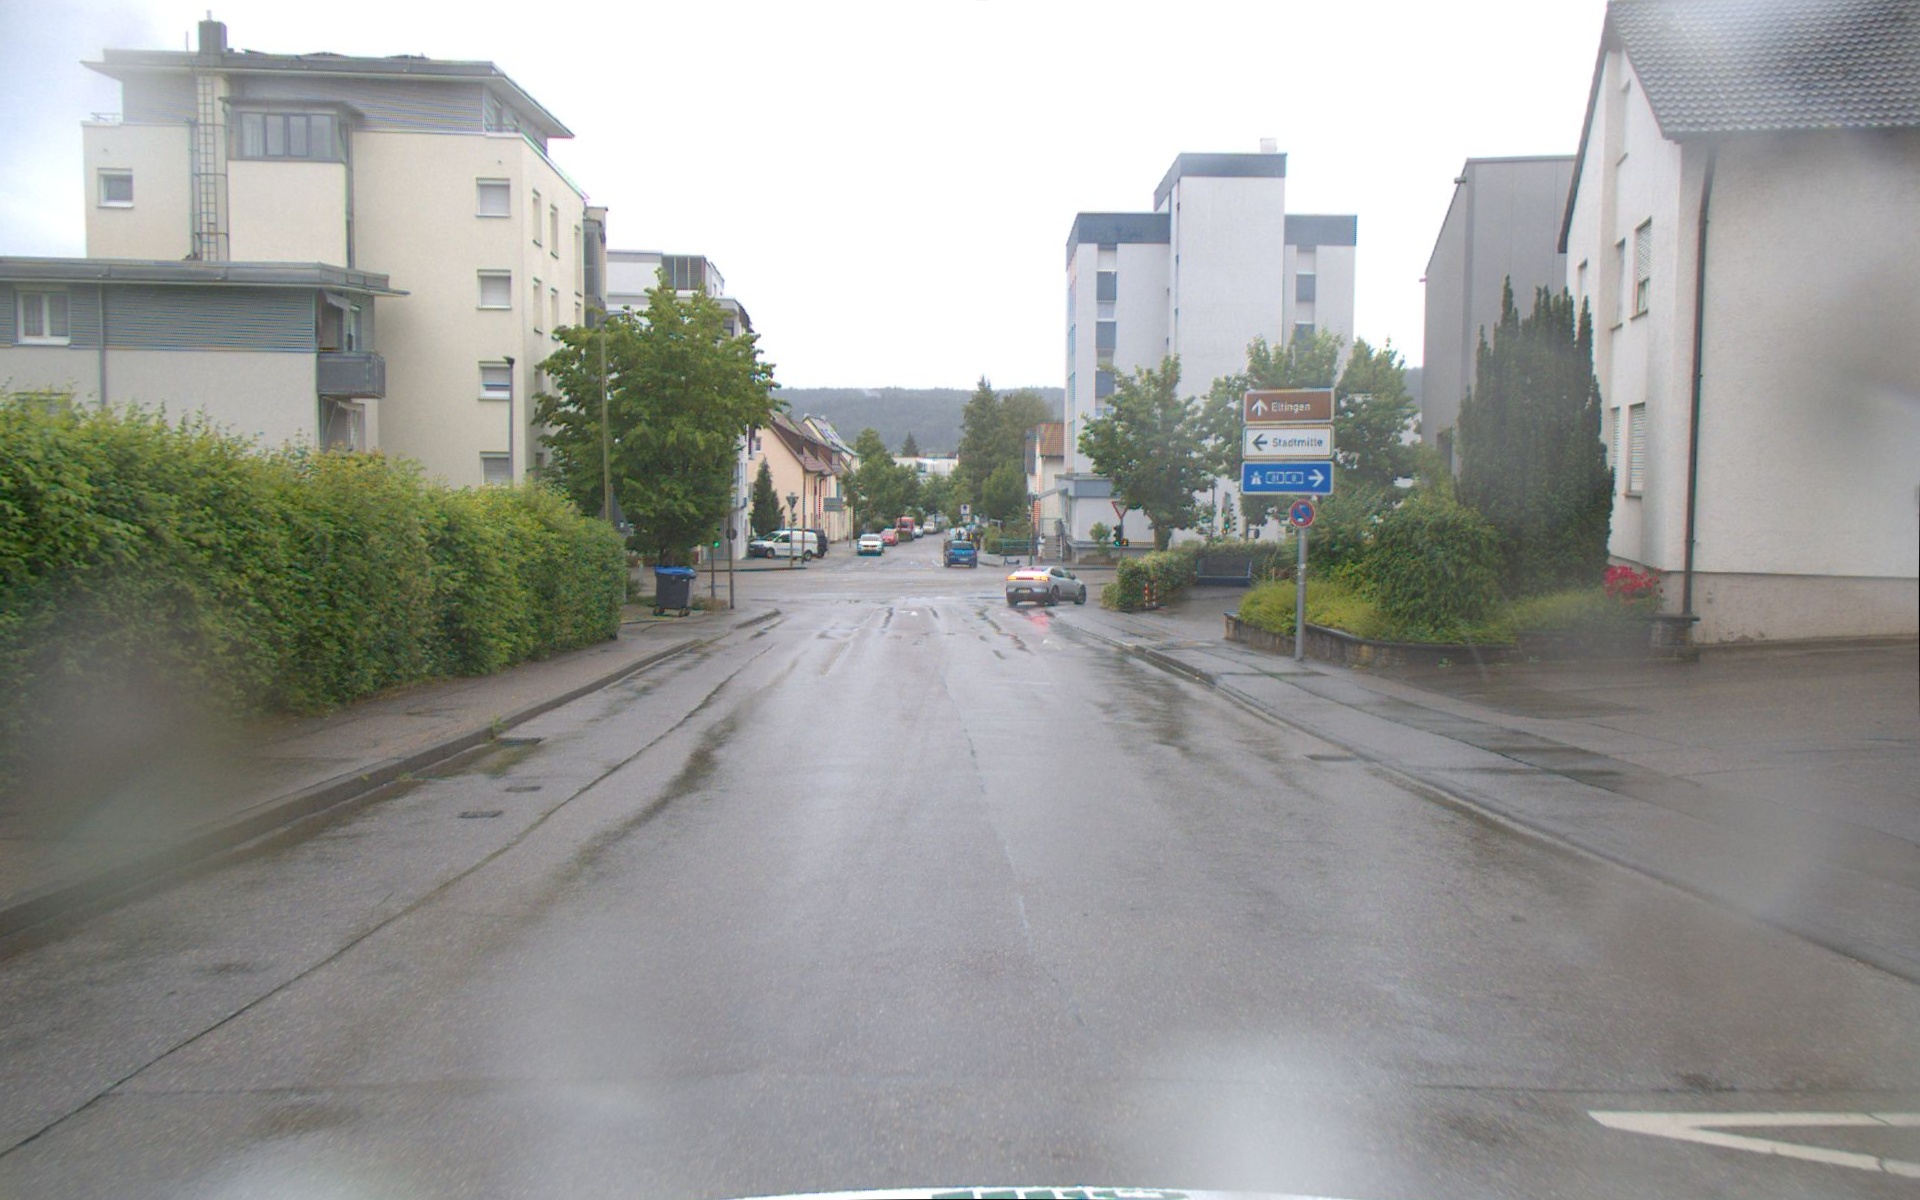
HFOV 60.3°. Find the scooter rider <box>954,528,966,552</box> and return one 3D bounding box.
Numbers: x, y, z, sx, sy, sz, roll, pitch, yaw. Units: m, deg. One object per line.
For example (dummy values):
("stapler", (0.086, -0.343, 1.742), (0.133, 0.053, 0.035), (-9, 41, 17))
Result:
("scooter rider", (0.012, -4.704, 129.818), (0.740, 1.827, 0.670), (-2, 2, -16))

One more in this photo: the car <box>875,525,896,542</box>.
("car", (-7.354, -6.600, 163.197), (1.863, 1.585, 4.192), (-1, 3, -1))

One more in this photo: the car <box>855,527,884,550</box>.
("car", (-6.914, -4.720, 126.774), (1.953, 1.654, 4.192), (-1, 3, -1))

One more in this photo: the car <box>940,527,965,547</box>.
("car", (-0.652, -5.360, 140.808), (2.102, 1.616, 4.129), (-1, 3, -1))

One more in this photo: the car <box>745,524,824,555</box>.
("car", (-11.260, -3.902, 106.512), (4.799, 1.867, 1.972), (-3, 3, -40))

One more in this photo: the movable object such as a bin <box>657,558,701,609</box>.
("movable object such as a bin", (-7.896, -0.464, 46.495), (1.050, 1.371, 1.318), (2, 1, -3))

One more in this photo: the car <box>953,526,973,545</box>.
("car", (0.296, -6.329, 162.697), (1.863, 1.775, 4.192), (-1, 3, -1))

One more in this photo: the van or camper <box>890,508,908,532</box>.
("van or camper", (-6.845, -8.969, 185.751), (1.863, 2.556, 4.239), (-1, 3, -1))

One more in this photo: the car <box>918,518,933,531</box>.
("car", (-4.453, -9.762, 213.456), (1.863, 1.585, 4.192), (-1, 3, -1))

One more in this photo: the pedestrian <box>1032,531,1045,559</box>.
("pedestrian", (4.695, -3.305, 99.181), (0.635, 1.675, 0.525), (2, 2, -8))

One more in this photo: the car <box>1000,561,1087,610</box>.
("car", (3.310, -0.595, 64.646), (1.955, 1.713, 3.997), (0, 3, 27))

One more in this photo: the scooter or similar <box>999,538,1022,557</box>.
("scooter or similar", (2.986, -3.087, 97.712), (1.243, 1.100, 0.876), (-1, 3, -6))

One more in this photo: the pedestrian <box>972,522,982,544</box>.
("pedestrian", (1.487, -5.866, 144.782), (0.731, 1.881, 0.525), (-2, 1, -8))

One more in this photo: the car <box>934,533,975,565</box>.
("car", (-0.345, -2.947, 95.067), (1.955, 1.713, 3.997), (-1, 3, -6))
